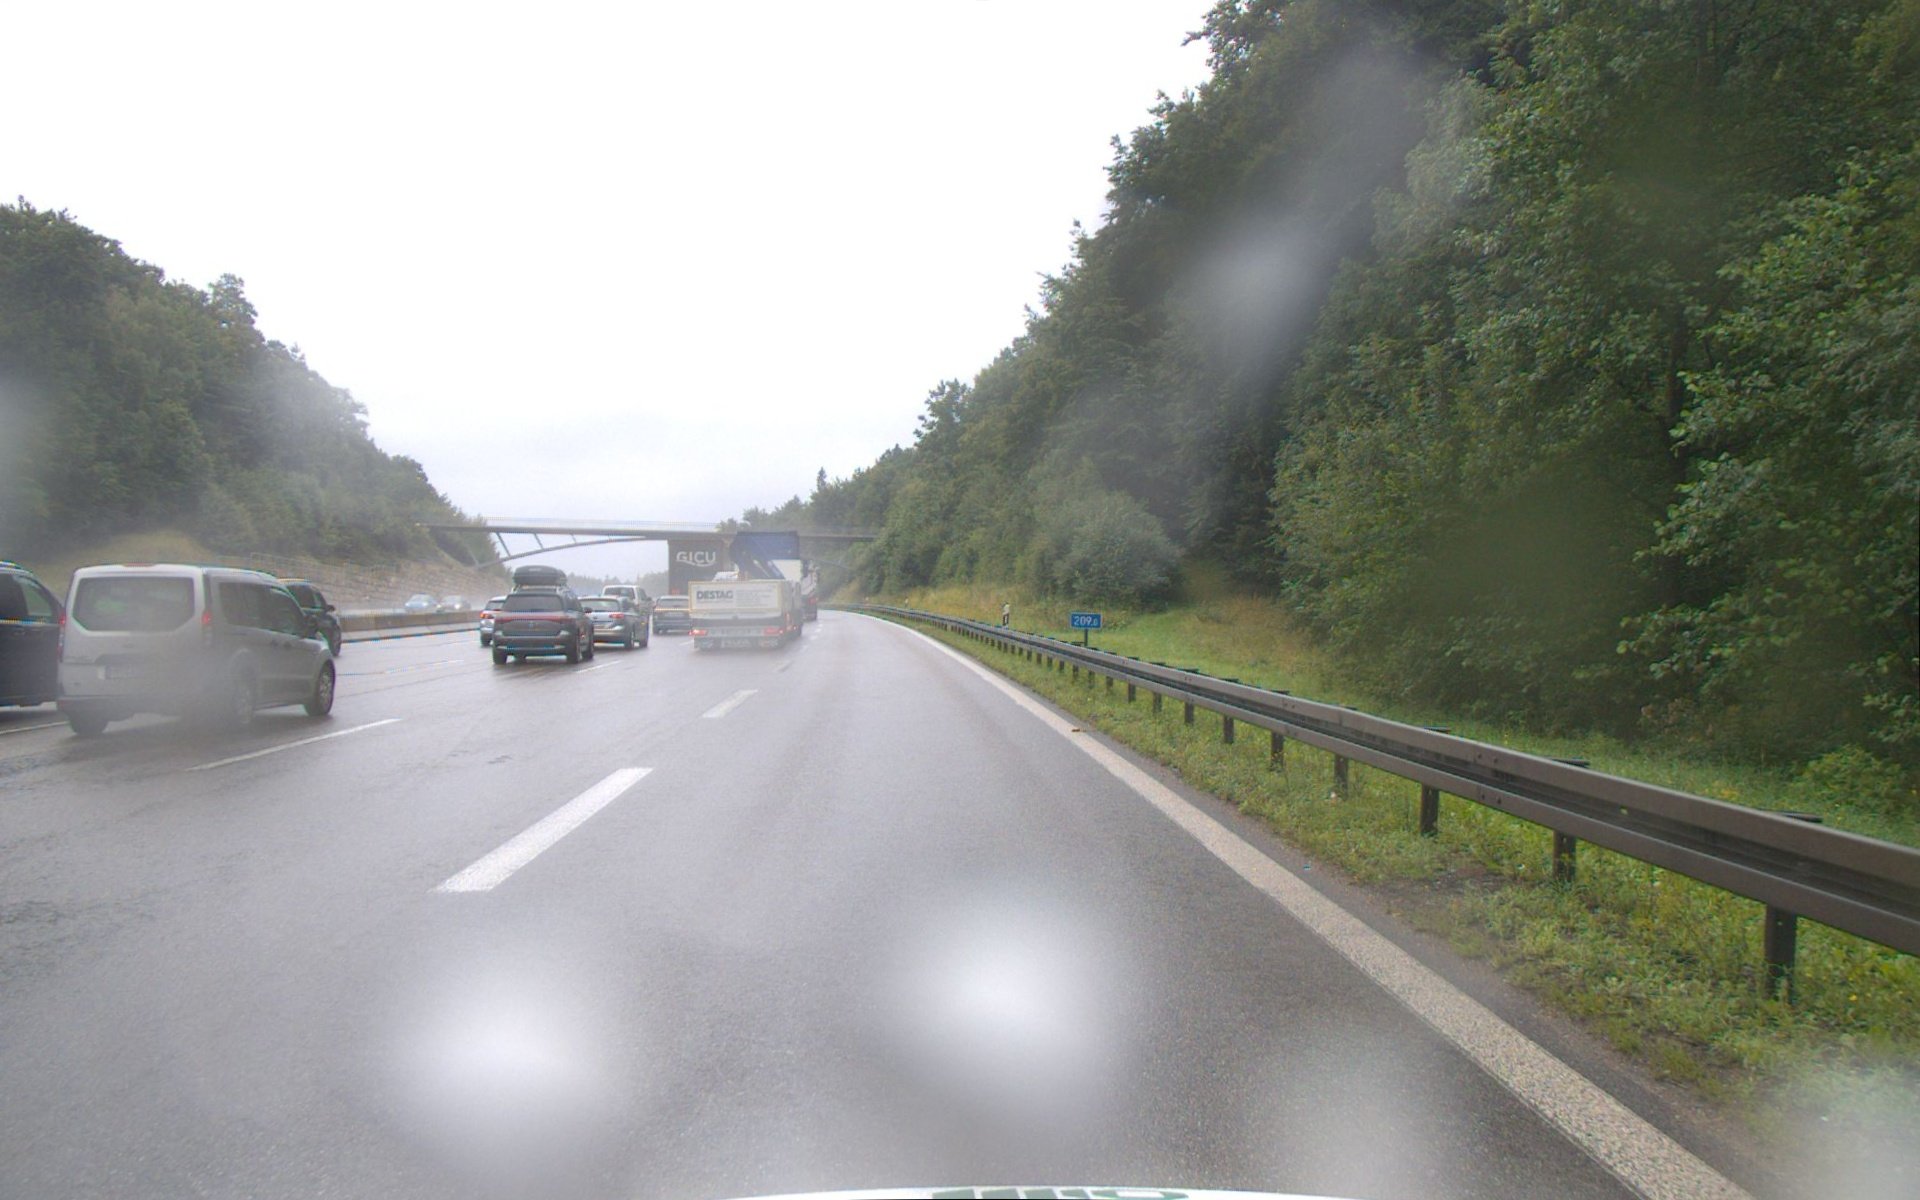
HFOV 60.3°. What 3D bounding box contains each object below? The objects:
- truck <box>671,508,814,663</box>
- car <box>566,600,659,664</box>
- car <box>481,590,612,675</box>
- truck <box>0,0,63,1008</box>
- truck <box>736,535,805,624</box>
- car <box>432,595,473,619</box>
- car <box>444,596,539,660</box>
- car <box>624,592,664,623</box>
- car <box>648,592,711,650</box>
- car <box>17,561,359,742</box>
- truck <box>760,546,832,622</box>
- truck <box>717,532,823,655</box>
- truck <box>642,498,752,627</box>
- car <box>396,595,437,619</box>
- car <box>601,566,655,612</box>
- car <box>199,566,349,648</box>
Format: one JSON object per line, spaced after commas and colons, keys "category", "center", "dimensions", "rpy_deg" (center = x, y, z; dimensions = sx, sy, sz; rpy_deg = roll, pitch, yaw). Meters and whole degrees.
{"category": "truck", "center": [-6.375, -0.411, 50.424], "dimensions": [3.529, 4.177, 11.551], "rpy_deg": [0, 0, -4]}
{"category": "car", "center": [-9.680, 0.849, 46.335], "dimensions": [1.899, 1.691, 3.998], "rpy_deg": [0, 0, -2]}
{"category": "car", "center": [-9.152, 0.734, 36.935], "dimensions": [1.954, 1.665, 3.997], "rpy_deg": [4, -2, -2]}
{"category": "truck", "center": [-4.579, -0.479, 3.459], "dimensions": [2.819, 3.758, 5.053], "rpy_deg": [0, 0, -3]}
{"category": "truck", "center": [-13.713, -1.342, 120.683], "dimensions": [4.251, 5.864, 9.721], "rpy_deg": [4, -2, -4]}
{"category": "car", "center": [-36.824, 0.504, 120.096], "dimensions": [1.954, 1.738, 3.997], "rpy_deg": [0, 0, -3]}
{"category": "car", "center": [-14.429, 0.880, 51.102], "dimensions": [1.750, 1.777, 3.998], "rpy_deg": [4, -2, -1]}
{"category": "car", "center": [-19.068, 0.493, 99.986], "dimensions": [1.815, 1.691, 3.995], "rpy_deg": [4, -2, -5]}
{"category": "car", "center": [-10.900, 0.843, 64.438], "dimensions": [1.757, 2.049, 3.998], "rpy_deg": [4, -2, -2]}
{"category": "car", "center": [-8.564, 0.497, 18.850], "dimensions": [1.808, 1.781, 4.566], "rpy_deg": [-1, 0, -1]}
{"category": "truck", "center": [-9.962, -0.861, 101.610], "dimensions": [3.681, 4.040, 11.050], "rpy_deg": [4, -2, -3]}
{"category": "truck", "center": [-7.431, -0.107, 66.223], "dimensions": [3.438, 4.342, 10.593], "rpy_deg": [4, -2, -4]}
{"category": "truck", "center": [-12.694, -1.649, 80.904], "dimensions": [3.679, 5.595, 10.167], "rpy_deg": [4, -2, -2]}
{"category": "car", "center": [-41.982, 0.541, 127.830], "dimensions": [1.954, 1.816, 3.998], "rpy_deg": [0, 0, -3]}
{"category": "car", "center": [-15.476, -0.475, 77.300], "dimensions": [1.807, 1.892, 3.997], "rpy_deg": [4, -2, -3]}
{"category": "car", "center": [-16.492, 0.161, 40.020], "dimensions": [1.889, 1.864, 4.584], "rpy_deg": [0, 0, -3]}
